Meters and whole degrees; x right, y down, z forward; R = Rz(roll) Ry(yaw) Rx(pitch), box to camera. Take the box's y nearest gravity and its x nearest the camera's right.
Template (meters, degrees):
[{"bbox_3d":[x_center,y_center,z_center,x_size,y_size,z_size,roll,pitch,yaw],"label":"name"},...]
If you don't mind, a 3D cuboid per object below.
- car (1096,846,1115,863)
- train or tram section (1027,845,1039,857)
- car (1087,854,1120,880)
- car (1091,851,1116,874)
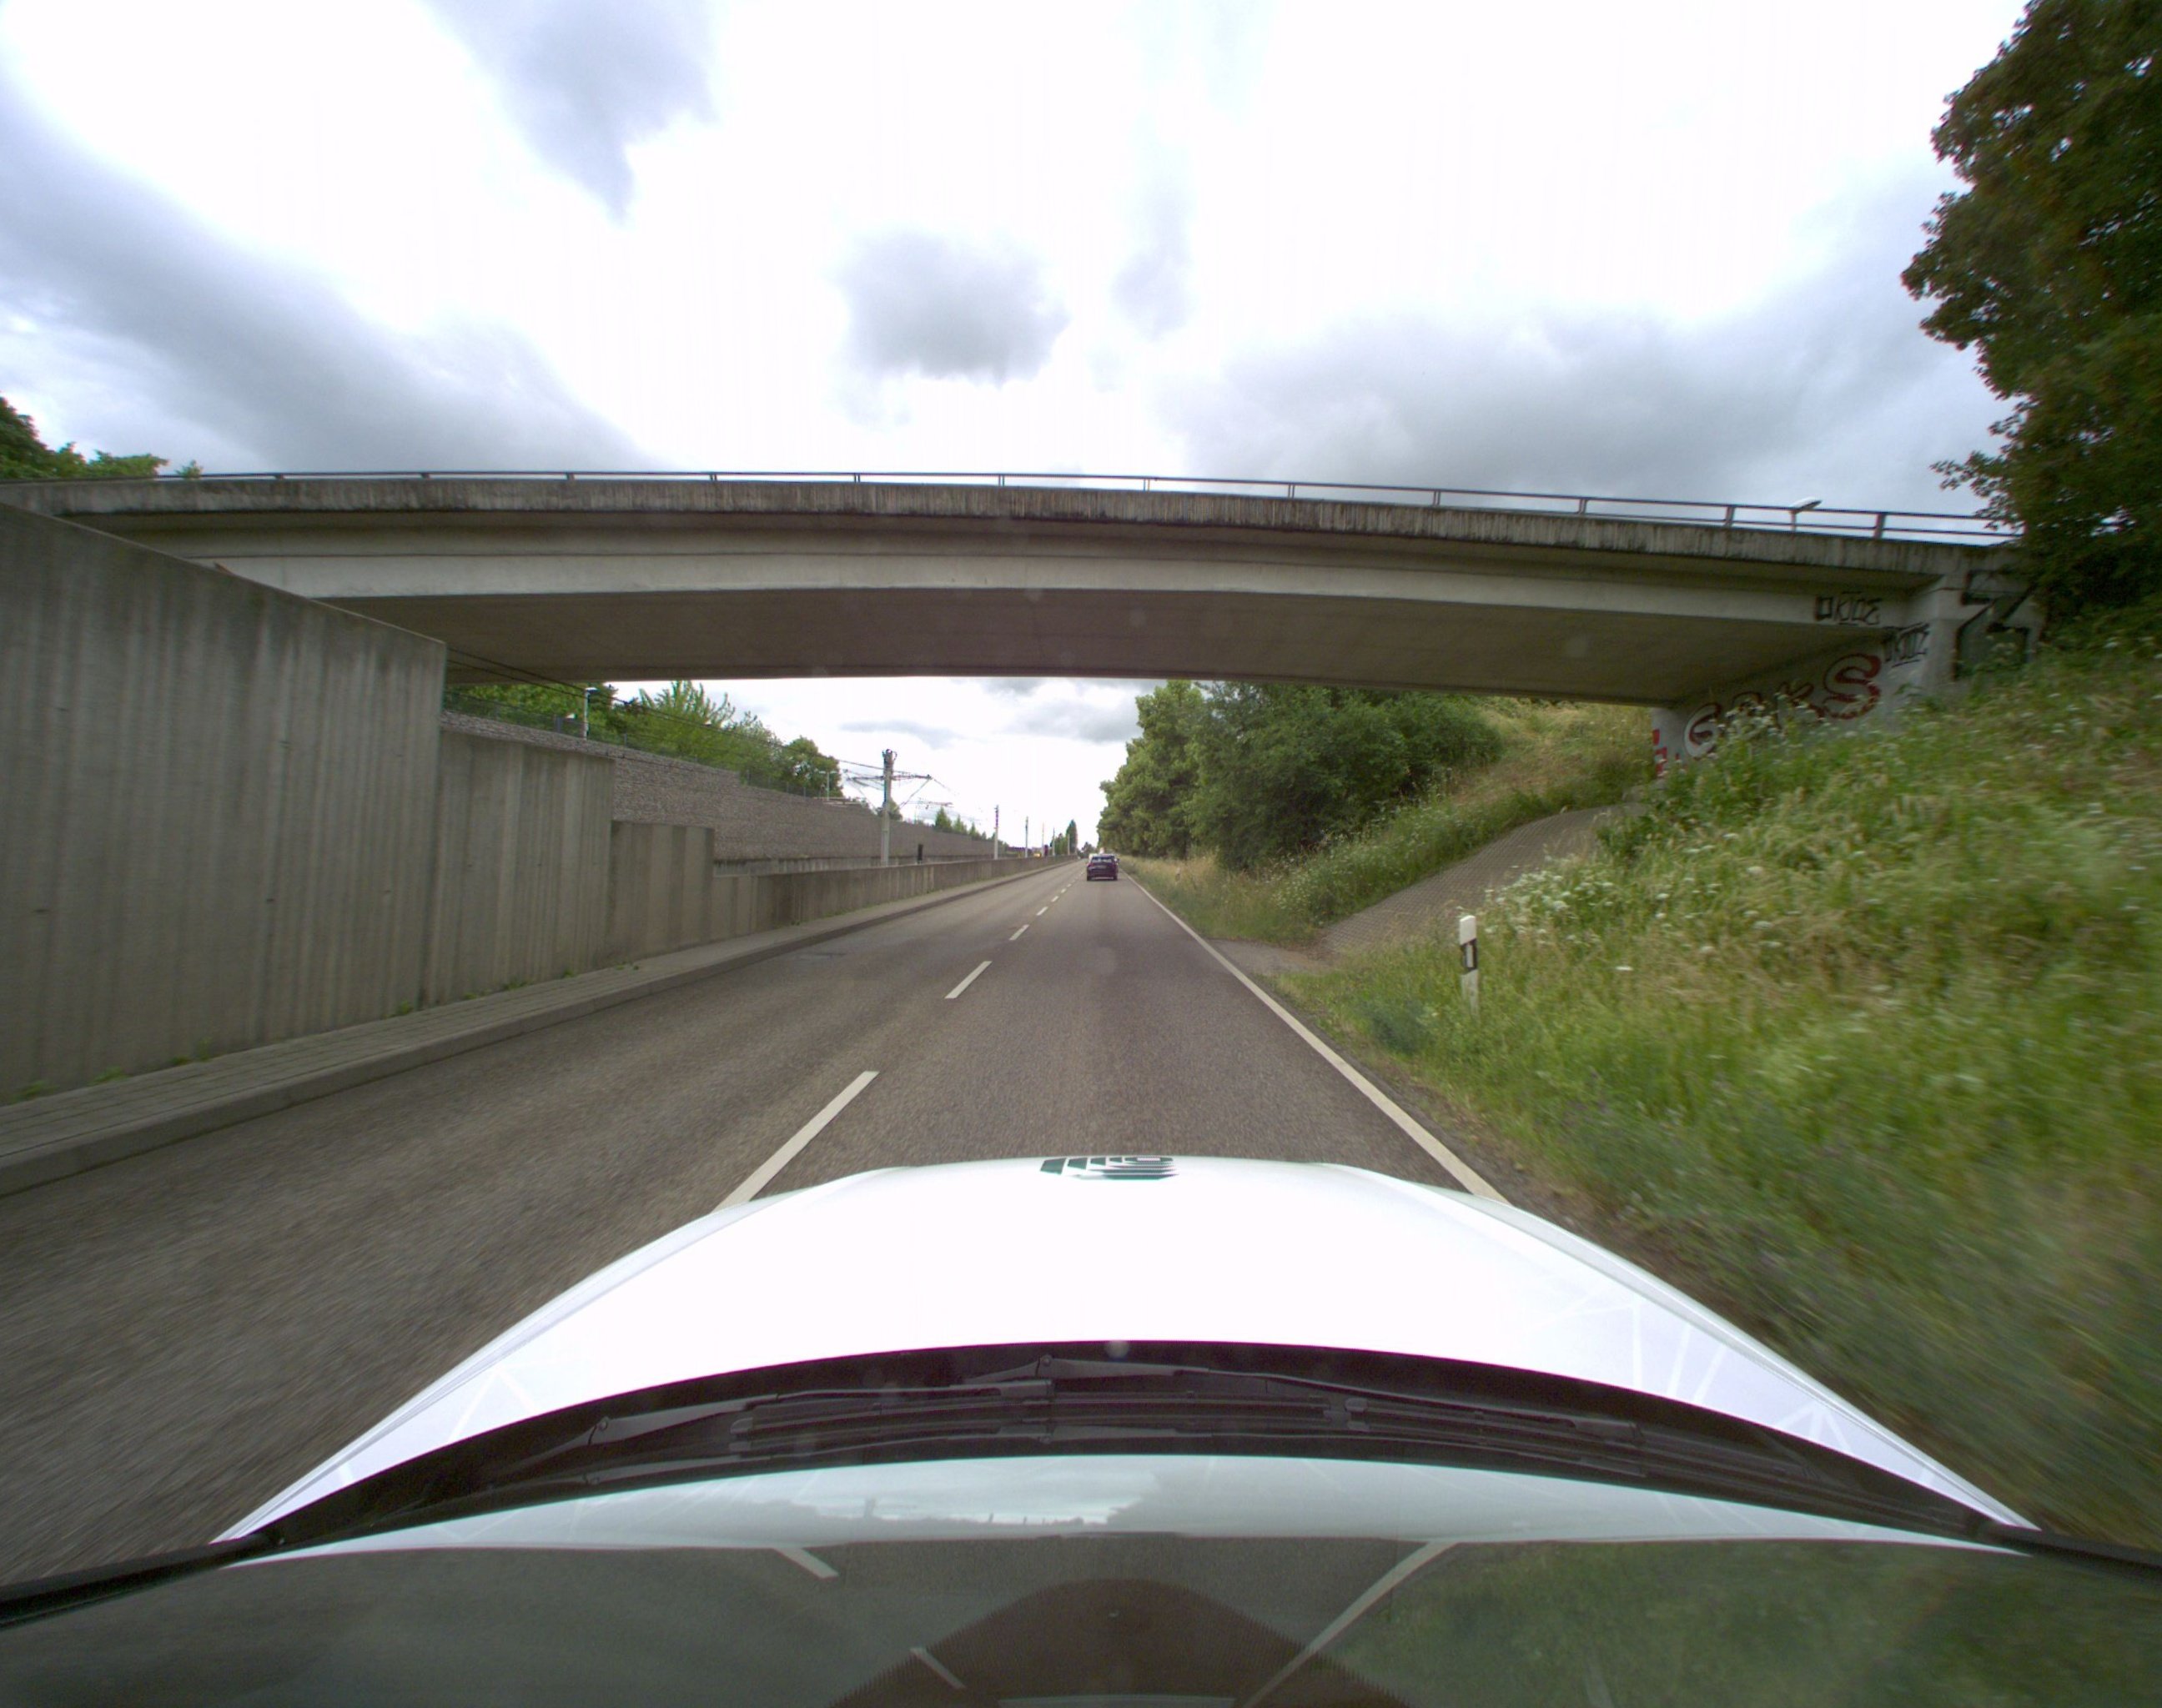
[{"bbox_3d":[2.616,0.117,88.057,1.986,1.740,4.001,-1,-1,1],"label":"car"},{"bbox_3d":[-15.298,-0.914,257.783,2.809,3.117,18.867,0,-1,-7],"label":"train or tram section"},{"bbox_3d":[1.301,0.726,47.076,1.775,1.468,4.001,0,0,1],"label":"car"},{"bbox_3d":[1.816,0.676,65.670,1.986,1.753,4.001,0,0,1],"label":"car"}]
